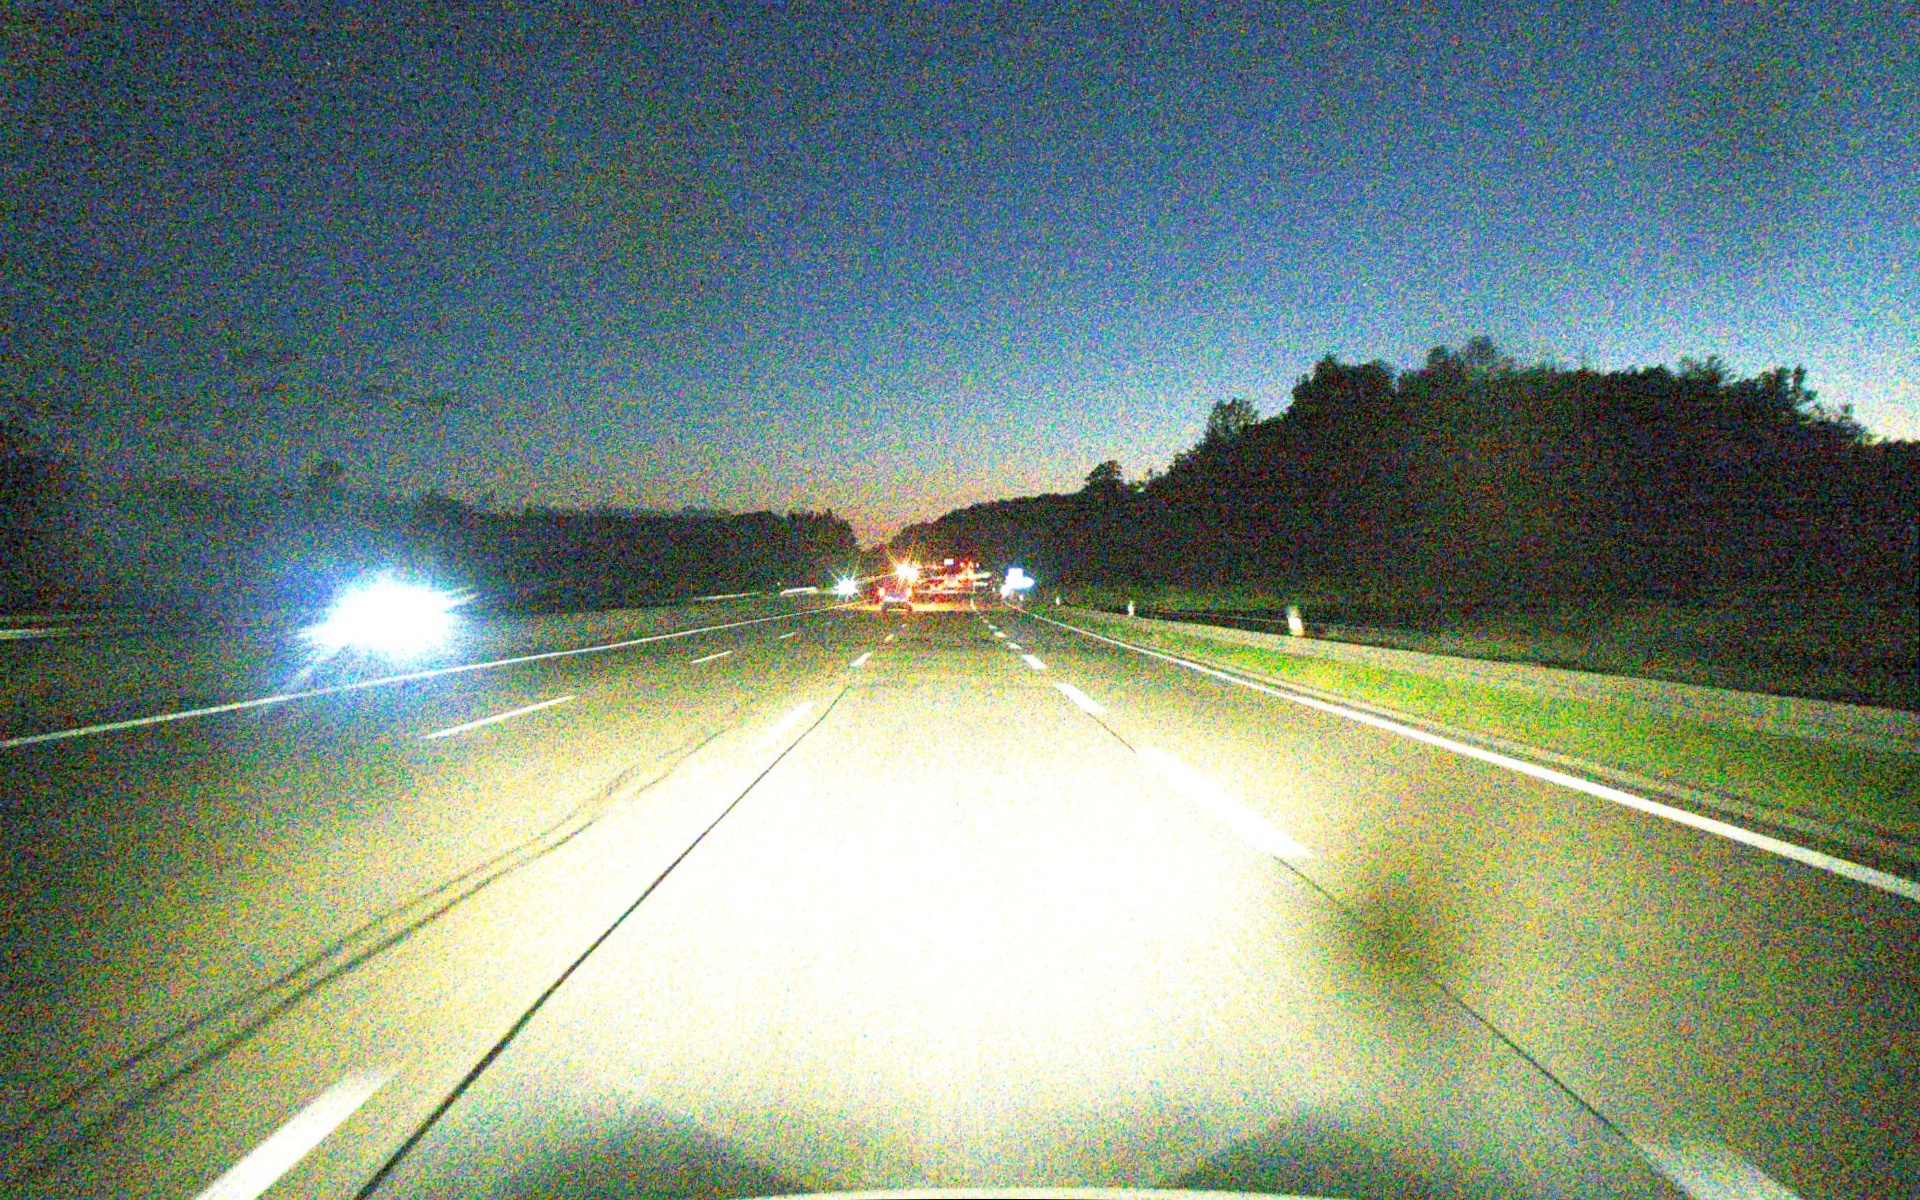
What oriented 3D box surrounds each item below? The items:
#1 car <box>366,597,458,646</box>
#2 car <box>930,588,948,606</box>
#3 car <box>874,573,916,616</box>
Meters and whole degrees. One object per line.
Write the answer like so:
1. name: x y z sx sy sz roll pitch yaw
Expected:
1. car: -20.813 0.774 63.048 1.953 1.776 5.070 1 0 -2
2. car: -3.246 -0.438 258.349 2.730 2.781 6.297 0 -1 -1
3. car: -4.405 -0.321 110.891 2.731 2.781 6.295 0 -1 -3
